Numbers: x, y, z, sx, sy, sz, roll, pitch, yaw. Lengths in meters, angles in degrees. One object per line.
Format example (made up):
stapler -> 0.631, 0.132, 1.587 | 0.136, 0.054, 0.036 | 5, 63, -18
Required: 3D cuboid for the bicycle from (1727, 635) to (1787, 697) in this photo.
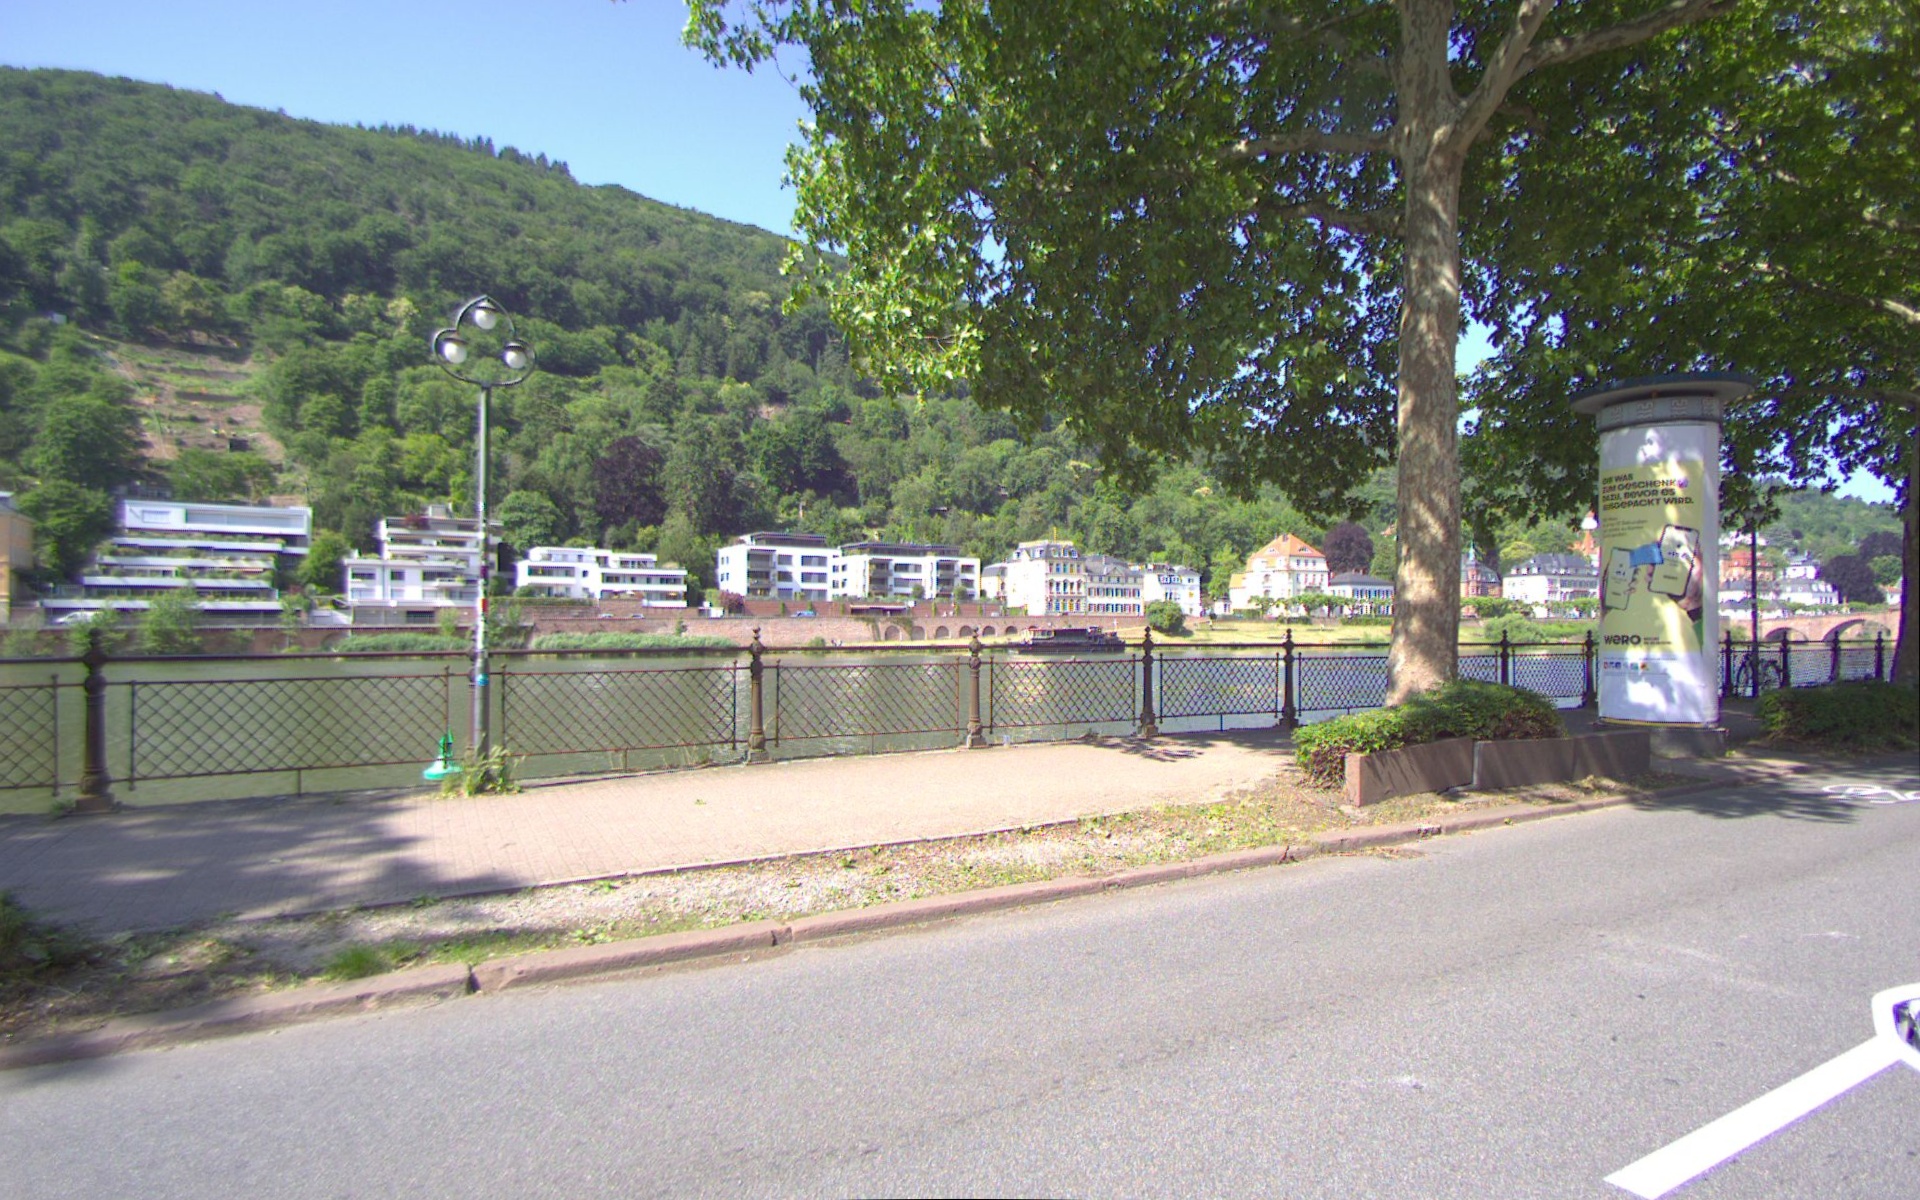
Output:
bicycle -> 15.673, 1.278, 19.745 | 1.806, 1.177, 0.355 | 1, -2, -33
